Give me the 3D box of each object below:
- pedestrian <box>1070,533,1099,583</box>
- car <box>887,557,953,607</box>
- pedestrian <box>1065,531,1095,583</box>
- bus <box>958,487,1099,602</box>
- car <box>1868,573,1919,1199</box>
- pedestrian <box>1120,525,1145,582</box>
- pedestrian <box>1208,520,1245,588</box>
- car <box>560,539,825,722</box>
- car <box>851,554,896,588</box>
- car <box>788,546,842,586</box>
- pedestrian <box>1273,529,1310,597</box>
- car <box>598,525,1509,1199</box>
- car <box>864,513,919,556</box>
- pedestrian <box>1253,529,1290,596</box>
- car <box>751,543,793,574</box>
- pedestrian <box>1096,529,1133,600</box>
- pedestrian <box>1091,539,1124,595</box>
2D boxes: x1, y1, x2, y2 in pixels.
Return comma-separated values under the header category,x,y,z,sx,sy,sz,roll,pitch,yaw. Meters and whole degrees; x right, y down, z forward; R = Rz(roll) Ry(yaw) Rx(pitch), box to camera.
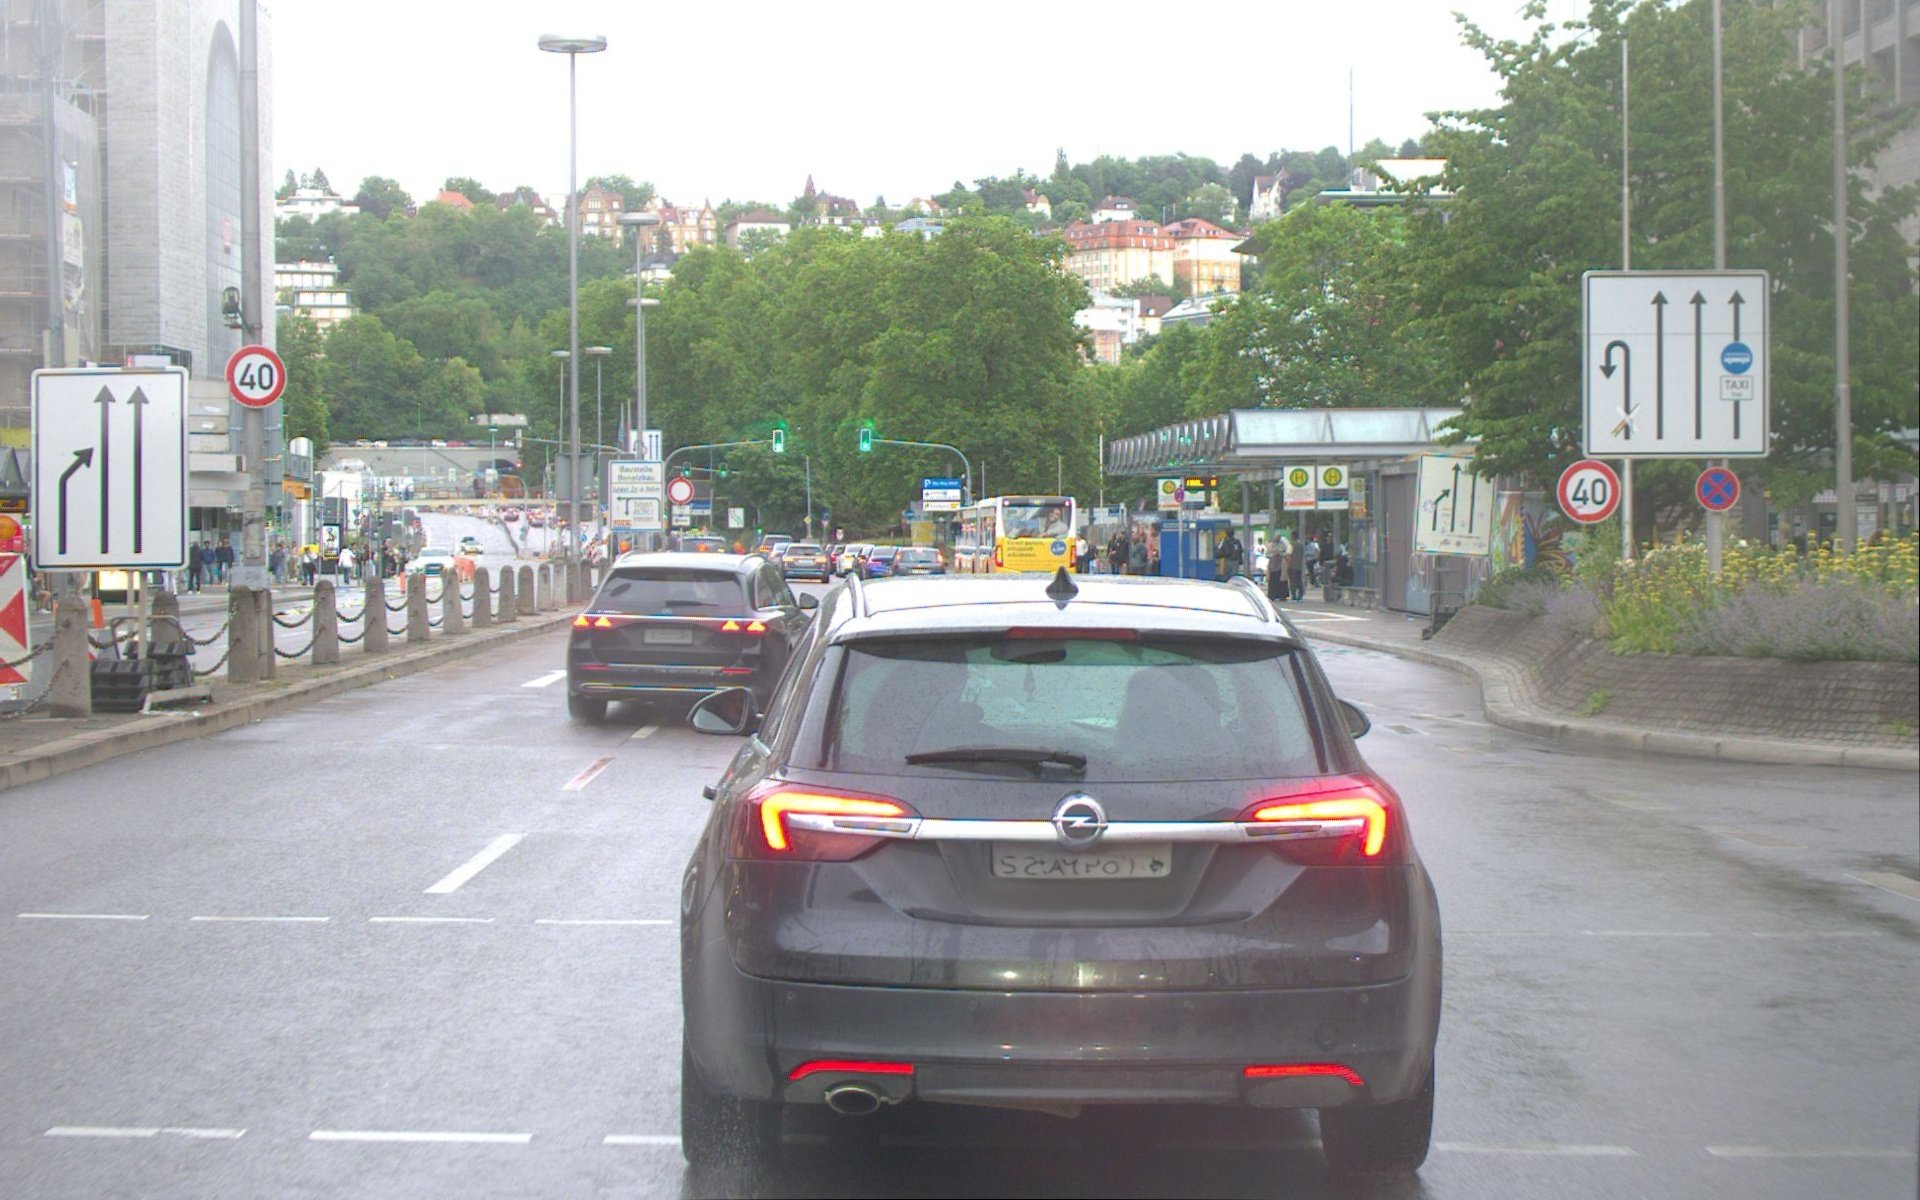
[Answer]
category,x,y,z,sx,sy,sz,roll,pitch,yaw
pedestrian,5.405,-1.818,149.081,1.199,2.142,1.228,1,0,1
car,-1.147,-0.517,99.746,1.845,1.393,3.667,1,0,0
pedestrian,5.019,-1.813,143.893,1.199,2.142,1.228,1,0,1
bus,2.108,-1.721,113.423,4.173,3.457,14.654,1,0,-1
car,2.776,0.720,4.564,1.793,1.496,4.629,1,0,-1
pedestrian,5.155,-1.398,102.782,0.657,1.684,0.609,1,0,0
pedestrian,6.719,-1.155,86.751,0.763,1.684,0.825,1,0,-5
car,-2.287,0.245,30.519,1.855,1.464,4.587,1,0,1
car,-3.680,-1.247,146.528,1.845,1.393,3.564,1,1,0
car,-5.329,-1.246,126.377,1.845,1.393,3.564,1,0,0
pedestrian,8.390,-0.940,86.904,0.763,1.684,0.825,1,0,-5
car,0.163,0.601,9.184,1.874,1.481,4.000,1,0,-1
car,-2.425,-2.291,120.945,1.753,1.393,4.649,1,0,-3
pedestrian,7.974,-0.952,87.973,0.763,1.684,0.825,1,0,-5
car,-8.792,-1.930,161.038,1.759,1.393,3.564,1,0,0
pedestrian,5.395,-1.229,120.177,1.199,2.427,1.228,1,0,1
pedestrian,5.738,-1.280,133.467,1.199,2.142,1.228,1,0,1
